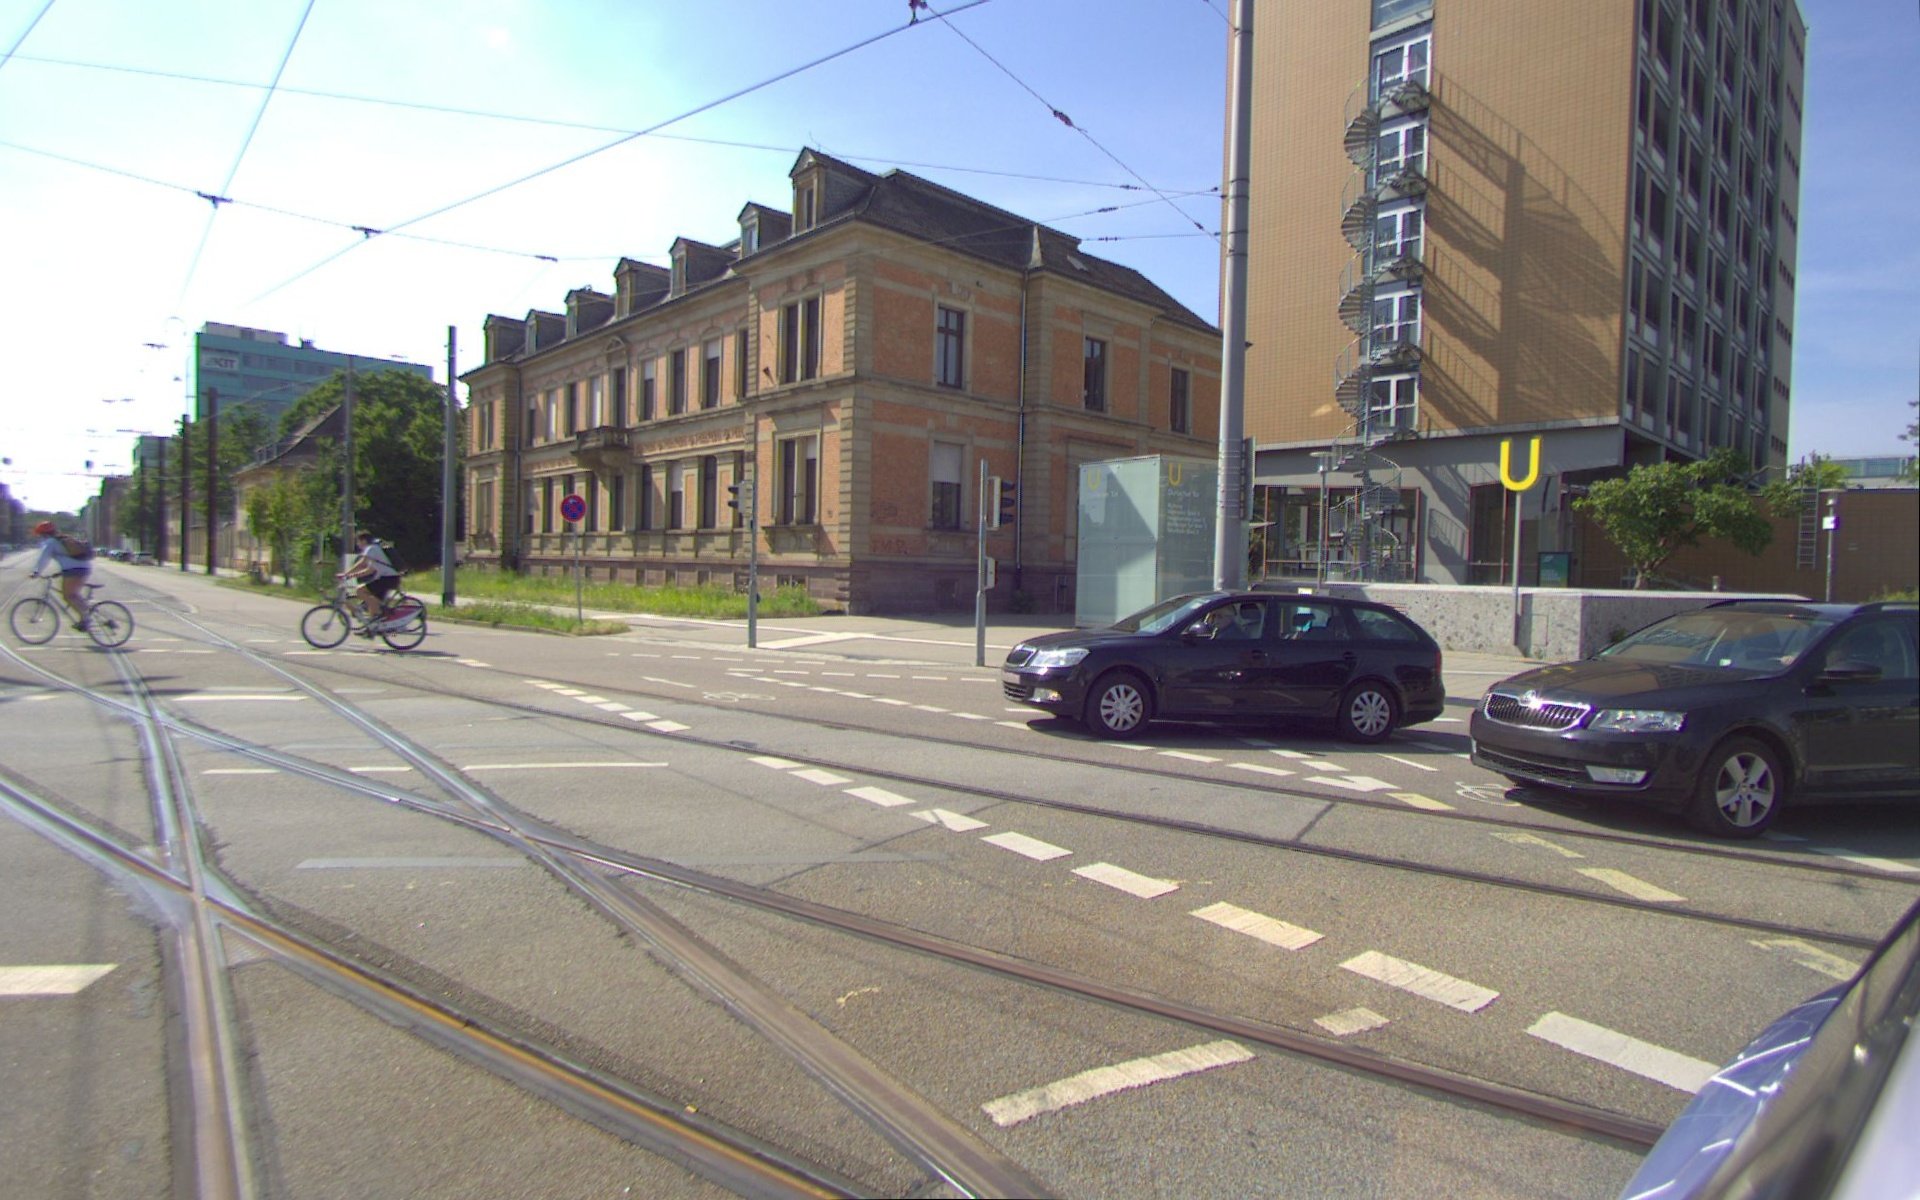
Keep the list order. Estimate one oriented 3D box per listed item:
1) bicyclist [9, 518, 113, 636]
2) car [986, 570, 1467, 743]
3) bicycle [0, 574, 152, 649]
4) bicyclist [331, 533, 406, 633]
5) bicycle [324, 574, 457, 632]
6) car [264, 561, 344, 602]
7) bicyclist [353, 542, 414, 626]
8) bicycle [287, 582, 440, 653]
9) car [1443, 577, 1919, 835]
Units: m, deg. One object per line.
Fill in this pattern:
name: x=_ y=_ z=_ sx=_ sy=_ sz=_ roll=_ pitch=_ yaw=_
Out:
bicyclist: x=-13.283 y=-0.353 z=14.976 sx=0.857 sy=1.689 sz=0.718 roll=1 pitch=3 yaw=-5
car: x=2.585 y=0.534 z=10.208 sx=4.306 sy=1.447 sz=1.709 roll=3 pitch=1 yaw=-12
bicycle: x=-13.305 y=0.160 z=15.011 sx=1.980 sy=1.027 sz=0.718 roll=1 pitch=3 yaw=-5
bicyclist: x=-9.201 y=-0.253 z=15.739 sx=0.932 sy=1.507 sz=0.716 roll=1 pitch=-1 yaw=-35
bicycle: x=-11.366 y=0.060 z=20.202 sx=2.424 sy=1.083 sz=0.667 roll=1 pitch=0 yaw=10
car: x=-23.221 y=-0.678 z=35.770 sx=3.442 sy=1.329 sz=1.646 roll=3 pitch=2 yaw=44
bicyclist: x=-11.531 y=-0.312 z=20.254 sx=0.770 sy=1.645 sz=0.667 roll=1 pitch=-1 yaw=10
bicycle: x=-9.233 y=0.261 z=15.715 sx=1.983 sy=1.028 sz=0.716 roll=0 pitch=-1 yaw=-37
car: x=6.006 y=0.630 z=7.073 sx=4.679 sy=1.453 sz=1.639 roll=1 pitch=1 yaw=-12
